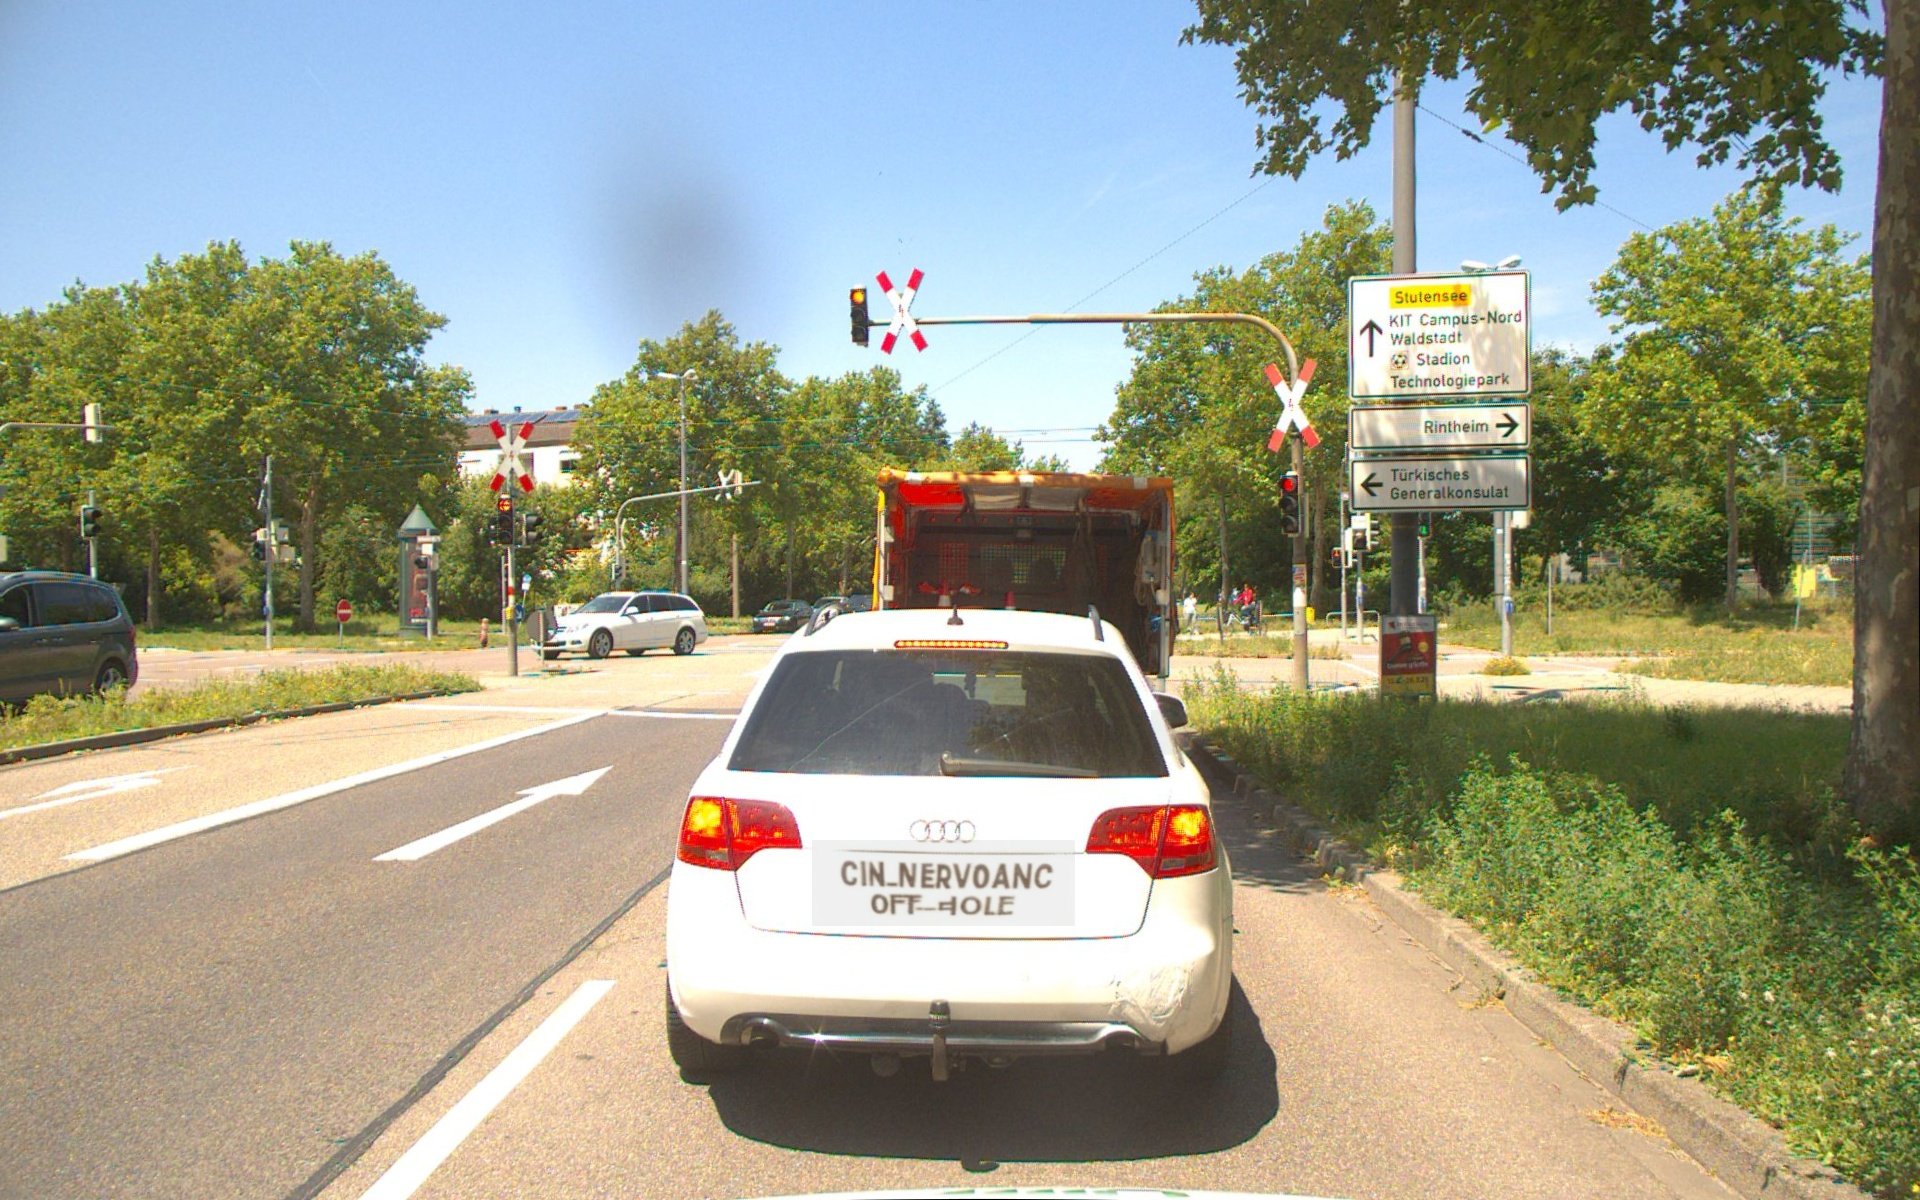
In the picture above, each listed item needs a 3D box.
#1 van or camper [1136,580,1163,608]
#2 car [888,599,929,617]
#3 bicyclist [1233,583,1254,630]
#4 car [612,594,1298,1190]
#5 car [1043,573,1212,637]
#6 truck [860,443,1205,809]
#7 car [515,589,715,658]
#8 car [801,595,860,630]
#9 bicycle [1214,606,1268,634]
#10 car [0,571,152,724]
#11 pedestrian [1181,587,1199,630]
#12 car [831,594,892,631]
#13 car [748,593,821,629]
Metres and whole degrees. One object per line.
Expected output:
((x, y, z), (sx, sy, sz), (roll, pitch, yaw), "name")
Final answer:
((23.083, -0.693, 201.717), (2.604, 3.389, 5.505), (0, 0, 14), "van or camper")
((-4.323, 0.678, 139.140), (1.844, 1.417, 3.997), (0, 0, 26), "car")
((9.582, 0.218, 55.942), (0.657, 1.583, 0.580), (-1, 0, 7), "bicyclist")
((0.085, 0.723, 5.983), (1.725, 1.470, 3.617), (0, 0, 3), "car")
((4.686, 0.138, 46.447), (4.353, 1.708, 1.911), (-1, 0, -13), "car")
((0.677, 0.185, 15.770), (2.459, 2.604, 7.605), (1, 0, 2), "truck")
((-7.731, 0.484, 37.463), (1.819, 1.443, 4.537), (-1, 0, 31), "car")
((-6.270, 0.573, 80.671), (1.749, 1.643, 4.408), (-1, 0, 11), "car")
((9.505, 0.690, 55.956), (1.767, 0.911, 0.589), (-1, 0, 8), "bicycle")
((-11.446, 0.527, 19.028), (1.909, 1.685, 4.622), (-1, 0, 2), "car")
((8.164, 0.314, 58.630), (0.541, 1.510, 0.630), (-1, 0, 16), "pedestrian")
((-4.379, 0.526, 74.053), (1.868, 1.566, 4.302), (-1, 0, 8), "car")
((-7.737, 0.478, 73.387), (1.907, 1.465, 4.751), (0, 1, 11), "car")
